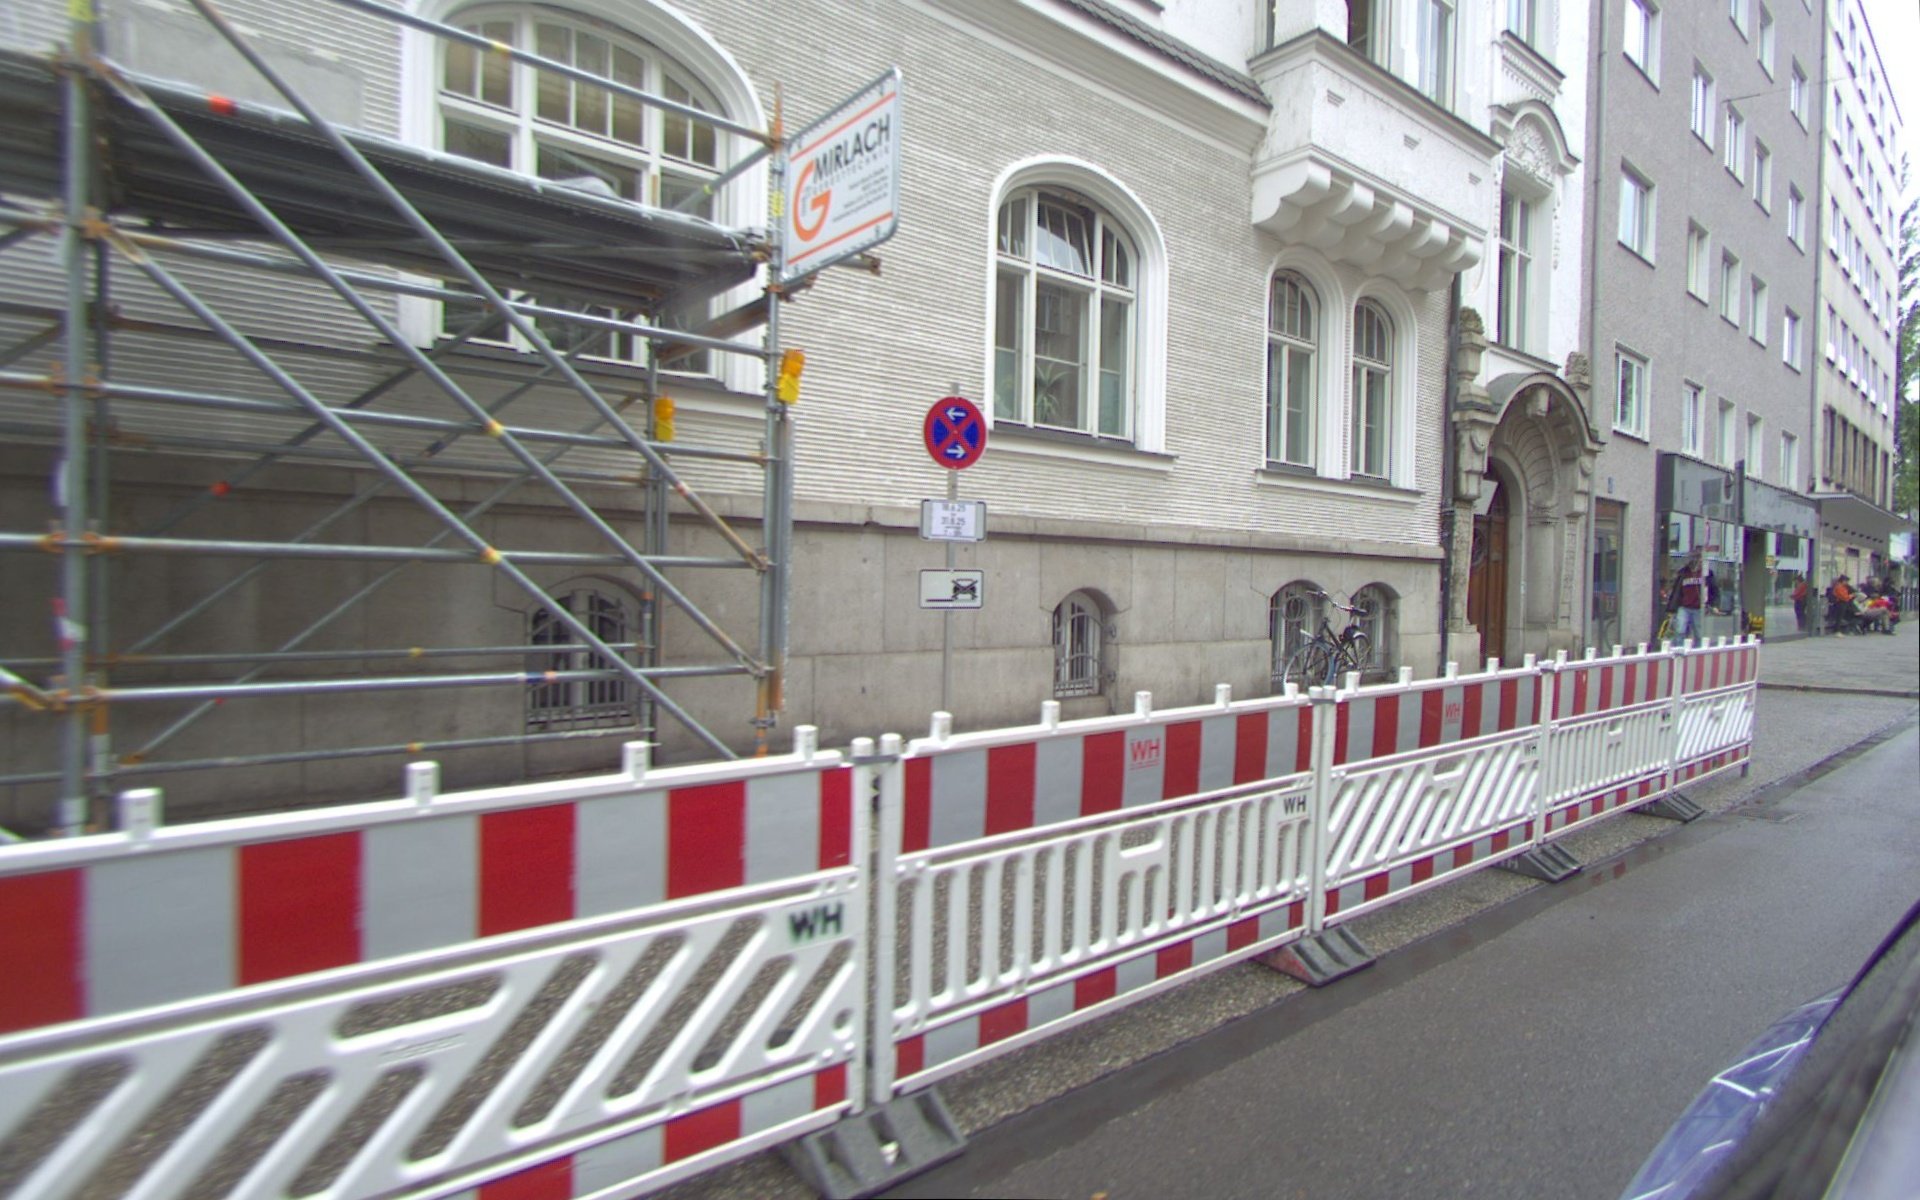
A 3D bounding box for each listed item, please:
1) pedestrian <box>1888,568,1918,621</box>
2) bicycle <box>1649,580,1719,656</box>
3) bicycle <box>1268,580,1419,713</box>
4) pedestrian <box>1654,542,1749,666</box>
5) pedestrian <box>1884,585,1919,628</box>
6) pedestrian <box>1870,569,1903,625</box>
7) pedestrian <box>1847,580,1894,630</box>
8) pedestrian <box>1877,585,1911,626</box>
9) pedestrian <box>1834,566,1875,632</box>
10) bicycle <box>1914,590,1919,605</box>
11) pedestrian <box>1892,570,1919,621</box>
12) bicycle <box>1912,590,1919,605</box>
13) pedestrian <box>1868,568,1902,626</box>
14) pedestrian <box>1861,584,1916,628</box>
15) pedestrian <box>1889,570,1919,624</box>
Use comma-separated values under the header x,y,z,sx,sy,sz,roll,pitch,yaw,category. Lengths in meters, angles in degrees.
x,y,z,sx,sy,sz,roll,pitch,yaw,category
33.561,-0.202,36.015,0.684,1.845,0.659,0,2,-40,pedestrian
13.055,0.293,18.236,1.788,1.275,0.513,0,5,-41,bicycle
4.039,0.431,10.586,1.890,1.220,0.661,-1,6,-44,bicycle
12.165,0.039,16.602,1.158,1.933,0.929,0,4,-41,pedestrian
28.515,0.188,30.620,0.574,1.252,0.709,0,2,-40,pedestrian
29.936,-0.107,32.705,0.764,1.754,0.659,0,2,-40,pedestrian
26.235,0.128,29.156,0.847,1.369,0.862,0,2,-40,pedestrian
28.726,0.162,31.140,0.487,1.252,0.681,0,2,-40,pedestrian
24.247,-0.047,27.432,0.733,1.754,0.704,0,2,-40,pedestrian
76.466,-0.172,79.531,2.115,1.130,0.728,3,2,40,bicycle
34.155,-0.184,36.482,0.757,1.805,0.659,0,2,-40,pedestrian
76.975,-0.177,80.206,2.115,1.130,0.728,3,2,40,bicycle
28.985,-0.101,31.706,0.672,1.754,0.659,0,2,-40,pedestrian
27.620,0.168,30.097,0.656,1.252,1.099,0,2,-40,pedestrian
31.511,-0.108,33.747,0.684,1.754,0.659,0,2,-40,pedestrian
